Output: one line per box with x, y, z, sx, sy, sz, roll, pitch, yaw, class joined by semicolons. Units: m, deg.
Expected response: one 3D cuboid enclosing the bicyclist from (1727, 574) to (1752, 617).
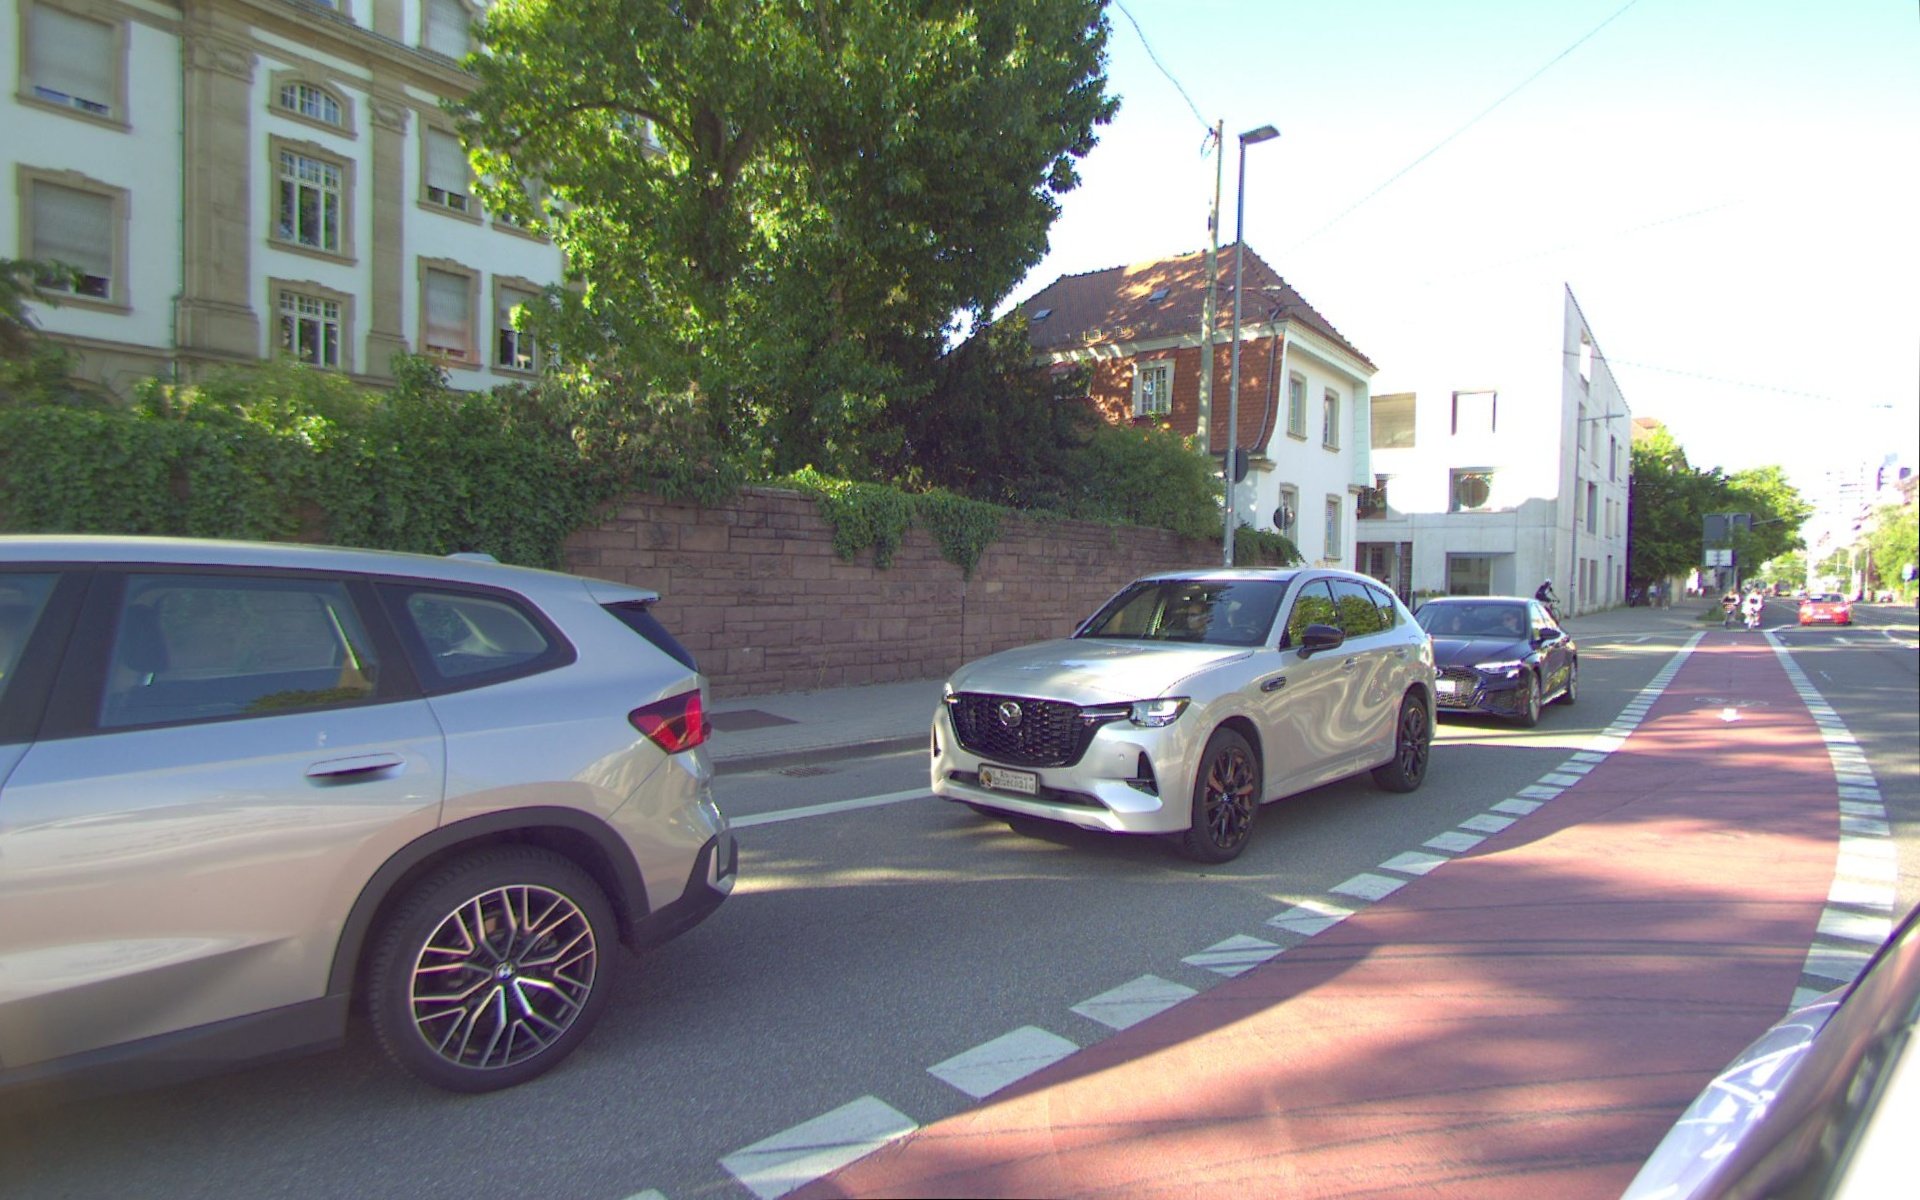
30.915;-0.204;40.129;0.673;1.667;1.014;2;2;40;bicyclist

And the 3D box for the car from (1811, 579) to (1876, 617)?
38.085;-0.091;43.616;3.586;1.580;1.647;-1;0;-41;car

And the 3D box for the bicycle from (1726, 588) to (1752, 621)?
30.907;0.156;40.137;0.673;1.265;2.421;2;2;40;bicycle

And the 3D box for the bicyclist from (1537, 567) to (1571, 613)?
21.824;-0.364;37.178;1.010;1.667;0.676;0;2;-36;bicyclist

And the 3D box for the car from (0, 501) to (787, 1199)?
-2.827;0.577;2.956;4.248;1.614;1.792;0;0;-36;car

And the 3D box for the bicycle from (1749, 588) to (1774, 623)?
30.534;0.183;38.539;0.673;1.265;2.421;2;2;40;bicycle

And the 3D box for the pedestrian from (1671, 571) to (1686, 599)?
42.847;-0.878;60.339;0.673;1.668;0.806;1;1;40;pedestrian

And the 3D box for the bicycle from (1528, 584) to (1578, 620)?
21.814;0.053;37.193;2.411;1.266;0.676;0;2;-37;bicycle

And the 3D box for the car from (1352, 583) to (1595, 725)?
6.416;0.526;12.438;1.782;1.451;3.941;0;1;41;car

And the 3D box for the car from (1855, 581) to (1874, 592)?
134.342;-1.966;150.323;1.640;1.580;3.602;0;0;36;car

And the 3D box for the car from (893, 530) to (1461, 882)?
1.814;0.491;7.227;1.940;1.713;4.460;0;1;44;car

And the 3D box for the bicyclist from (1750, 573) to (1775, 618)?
30.526;-0.171;38.510;0.673;1.667;1.014;2;2;40;bicyclist

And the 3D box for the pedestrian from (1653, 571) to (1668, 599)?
42.144;-0.884;60.865;0.673;1.668;0.806;1;1;40;pedestrian
